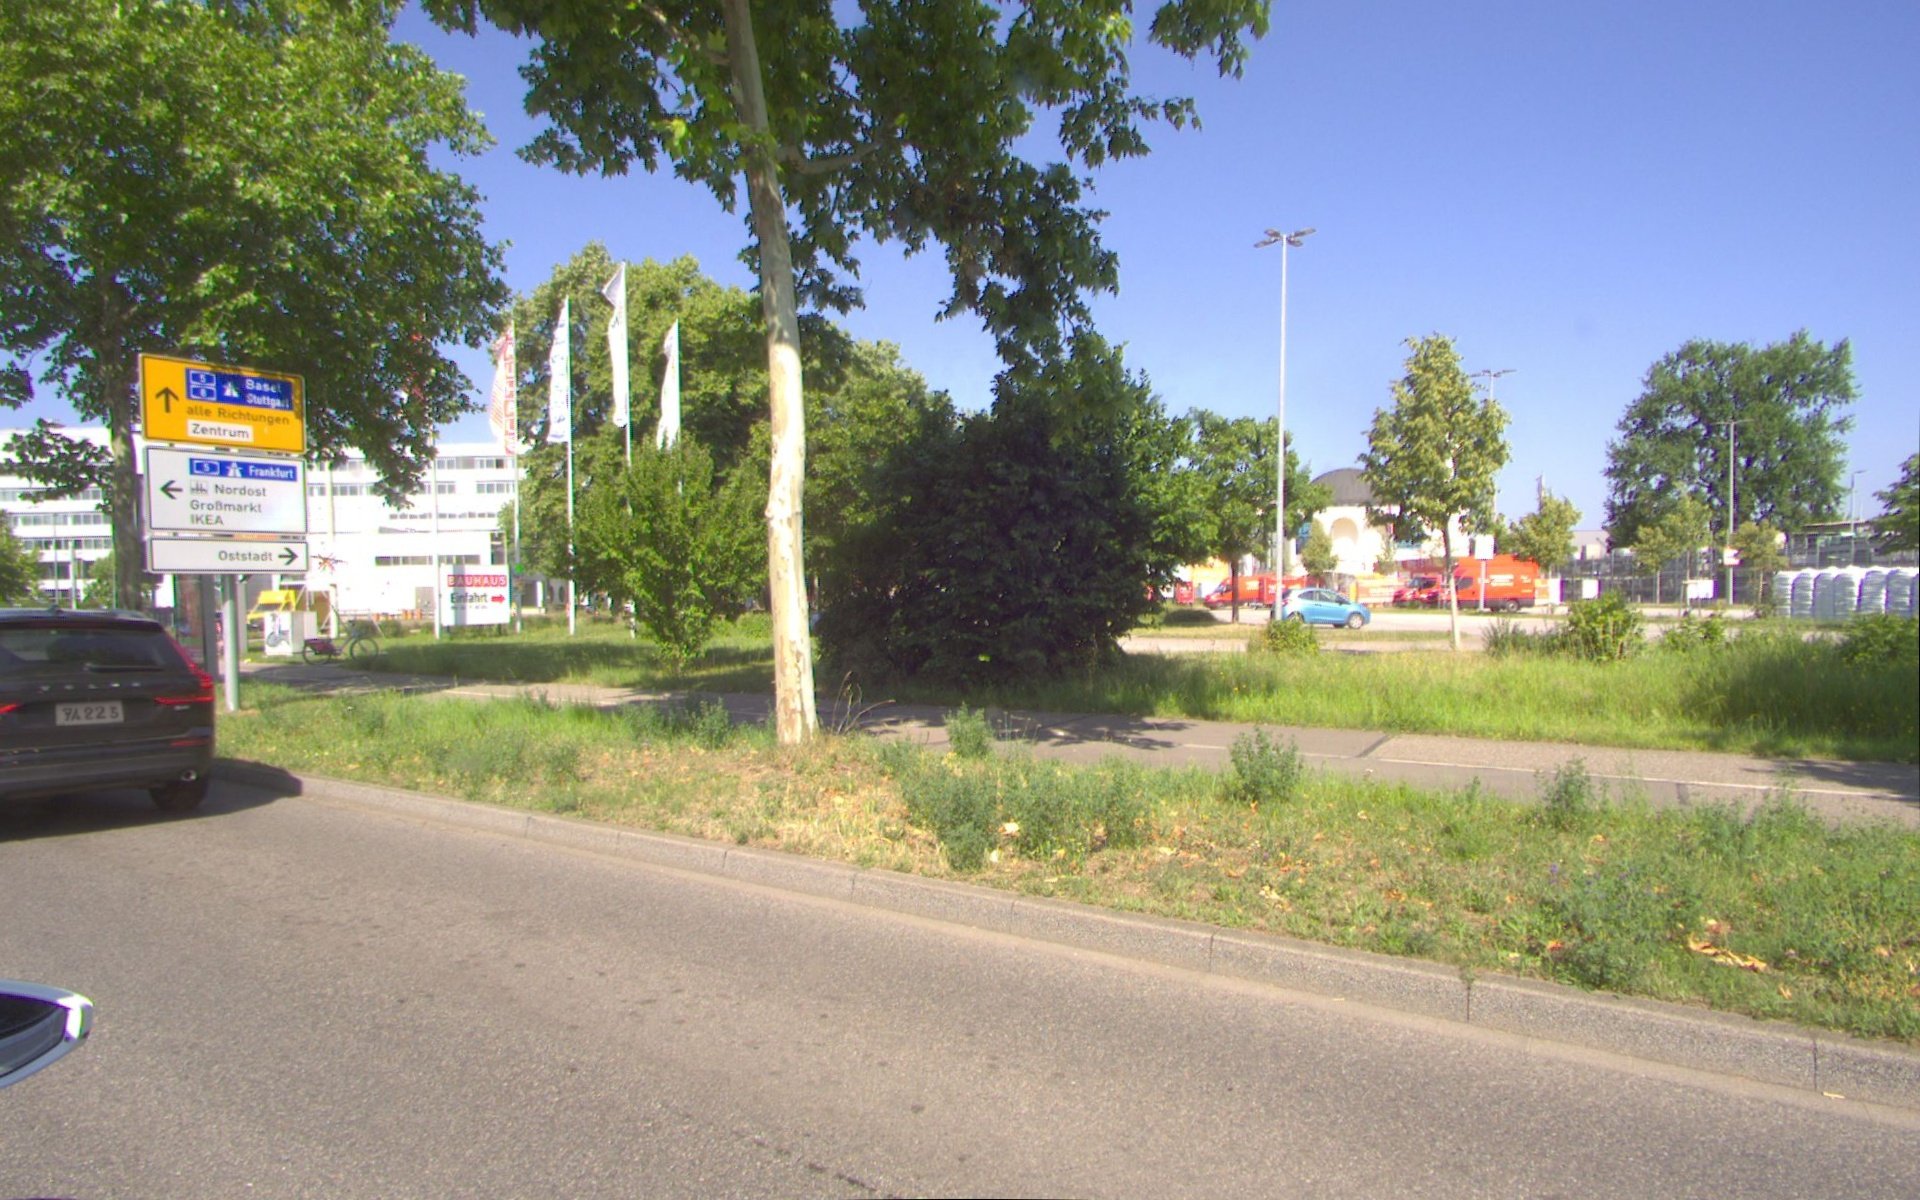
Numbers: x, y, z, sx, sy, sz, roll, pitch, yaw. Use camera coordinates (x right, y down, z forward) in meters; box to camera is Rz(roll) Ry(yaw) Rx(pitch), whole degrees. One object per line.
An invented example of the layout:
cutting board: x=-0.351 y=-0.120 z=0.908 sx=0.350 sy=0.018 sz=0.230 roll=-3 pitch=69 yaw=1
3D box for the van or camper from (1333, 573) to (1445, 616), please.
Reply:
van or camper: x=30.701 y=-0.369 z=71.774 sx=7.145 sy=2.979 sz=2.001 roll=0 pitch=-1 yaw=-2

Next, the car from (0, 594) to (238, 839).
car: x=-7.933 y=0.827 z=8.137 sx=4.371 sy=1.611 sz=1.872 roll=-1 pitch=-2 yaw=32

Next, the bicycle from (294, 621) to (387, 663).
bicycle: x=-16.350 y=1.099 z=26.457 sx=1.985 sy=1.027 sz=0.615 roll=-1 pitch=1 yaw=-41

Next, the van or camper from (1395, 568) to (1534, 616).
van or camper: x=29.440 y=-0.456 z=58.540 sx=7.145 sy=2.739 sz=2.001 roll=0 pitch=-1 yaw=-2

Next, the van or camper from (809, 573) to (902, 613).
van or camper: x=-8.118 y=-0.528 z=78.364 sx=7.145 sy=2.979 sz=2.001 roll=0 pitch=-1 yaw=-2

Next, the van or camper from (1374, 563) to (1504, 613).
van or camper: x=29.715 y=-0.709 z=62.289 sx=7.145 sy=2.979 sz=2.001 roll=0 pitch=-1 yaw=-2

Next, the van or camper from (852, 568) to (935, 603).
van or camper: x=-5.771 y=-1.250 z=87.478 sx=7.145 sy=2.979 sz=2.001 roll=0 pitch=-1 yaw=-2

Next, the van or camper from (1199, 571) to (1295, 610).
van or camper: x=22.978 y=-0.758 z=80.334 sx=7.145 sy=2.979 sz=2.001 roll=0 pitch=-1 yaw=-2

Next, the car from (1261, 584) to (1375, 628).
car: x=13.209 y=0.244 z=37.051 sx=3.580 sy=1.561 sz=1.753 roll=0 pitch=-2 yaw=-3
